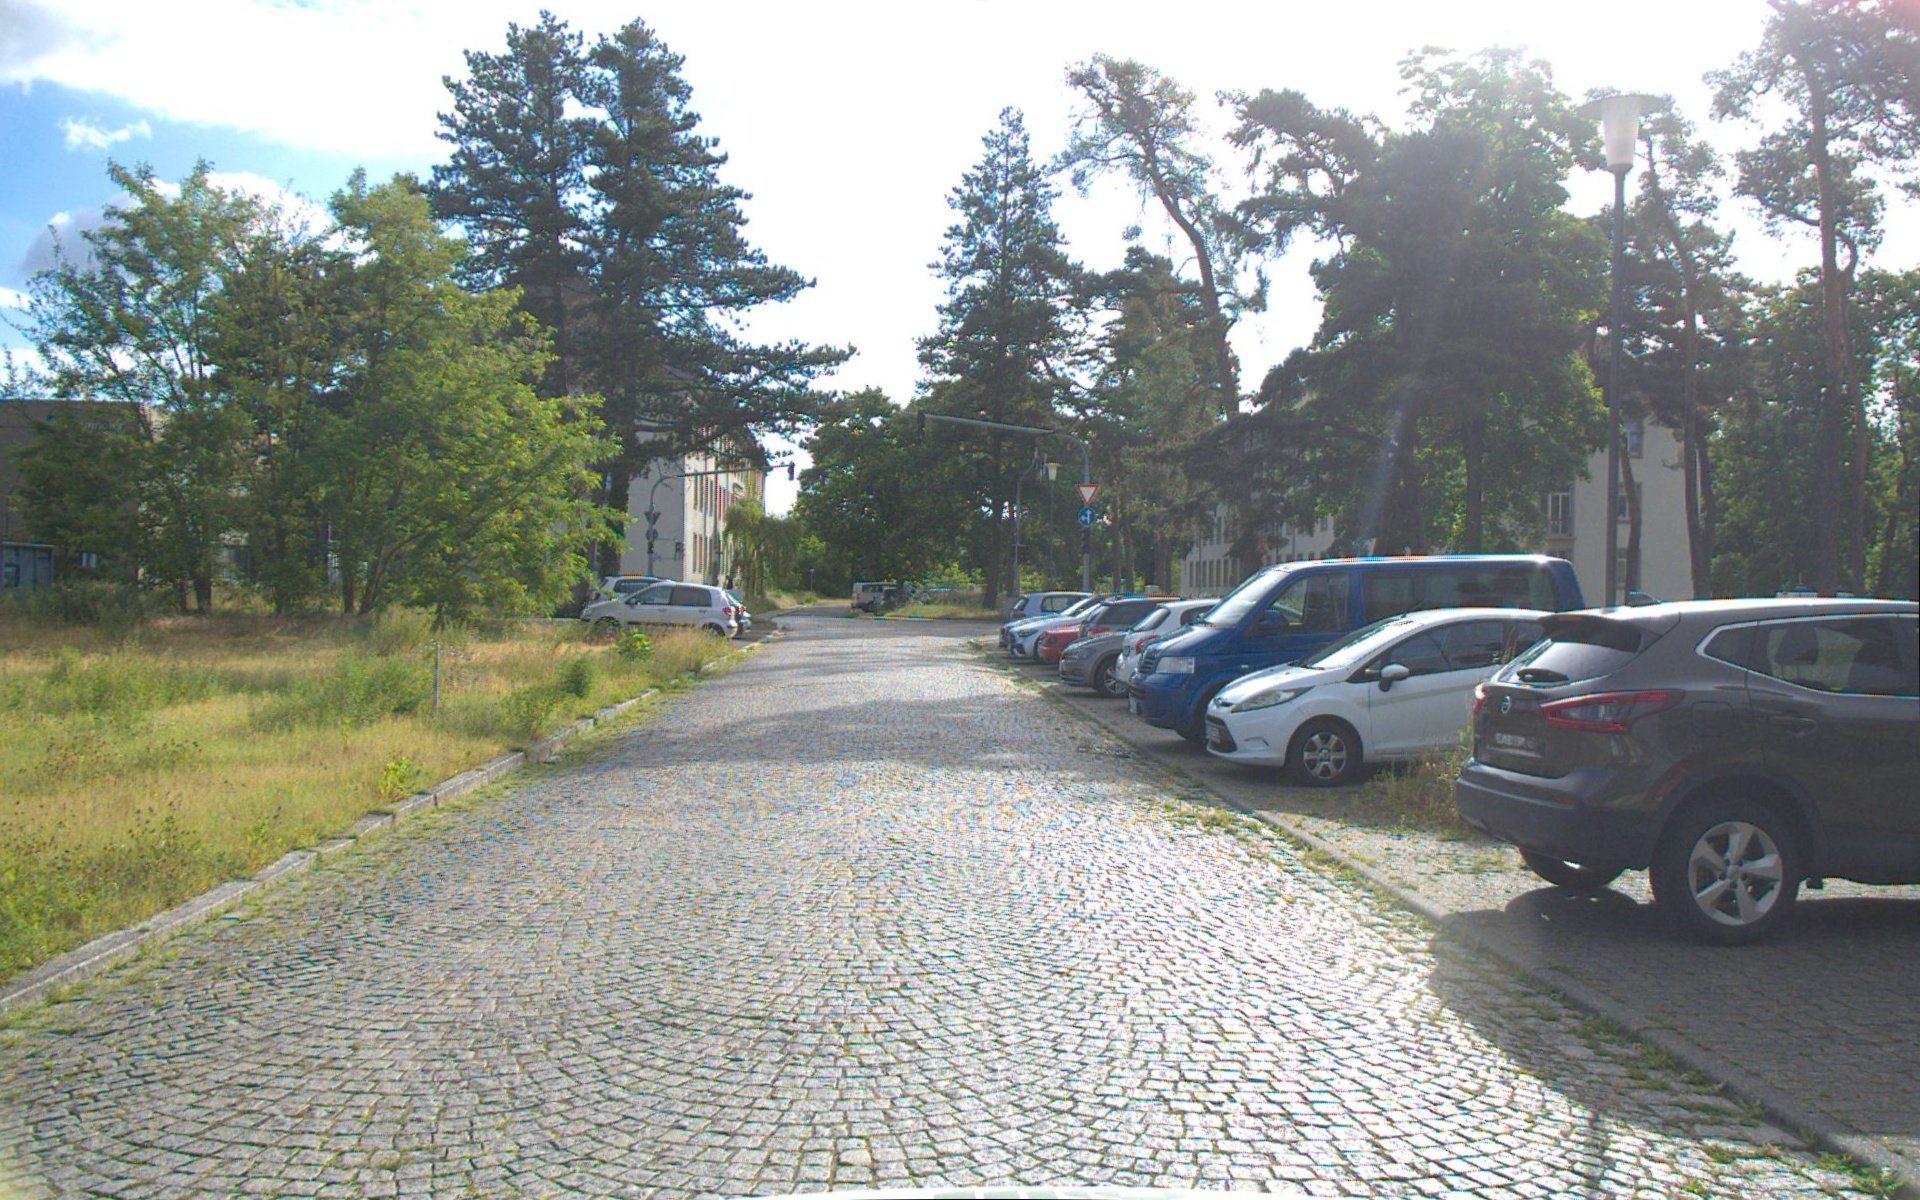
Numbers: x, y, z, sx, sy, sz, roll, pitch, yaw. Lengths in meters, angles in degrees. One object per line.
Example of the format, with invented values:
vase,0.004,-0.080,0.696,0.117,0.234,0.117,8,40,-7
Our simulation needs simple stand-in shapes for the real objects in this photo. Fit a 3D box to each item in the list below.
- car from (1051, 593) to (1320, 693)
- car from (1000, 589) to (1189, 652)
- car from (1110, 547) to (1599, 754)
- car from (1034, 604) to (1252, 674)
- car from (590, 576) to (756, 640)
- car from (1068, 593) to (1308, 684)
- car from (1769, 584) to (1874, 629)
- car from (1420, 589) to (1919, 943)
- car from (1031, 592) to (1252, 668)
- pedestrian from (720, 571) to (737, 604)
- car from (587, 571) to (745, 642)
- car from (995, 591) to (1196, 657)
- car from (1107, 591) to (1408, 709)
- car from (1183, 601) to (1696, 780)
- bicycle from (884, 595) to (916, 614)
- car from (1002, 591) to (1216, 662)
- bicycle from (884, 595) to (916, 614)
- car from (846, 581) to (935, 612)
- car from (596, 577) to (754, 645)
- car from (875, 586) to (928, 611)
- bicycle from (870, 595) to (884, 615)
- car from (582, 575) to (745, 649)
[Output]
car,3.436,0.645,25.682,3.872,1.493,1.829,0,0,-3
car,3.317,0.503,41.311,4.455,1.531,1.931,0,0,-6
car,4.053,0.497,17.500,4.640,1.962,1.990,-1,0,-4
car,3.402,0.728,31.249,3.872,1.283,1.725,0,0,-3
car,-8.189,0.209,47.572,4.499,1.480,1.901,4,1,-6
car,3.891,0.646,28.639,3.872,1.521,1.771,0,0,-3
car,50.775,0.378,97.561,5.055,2.580,2.263,1,0,-2
car,4.737,0.766,8.664,4.108,1.616,1.876,0,0,-5
car,3.647,0.599,33.647,4.255,1.499,1.738,0,0,-4
pedestrian,-14.501,-0.782,103.672,0.966,1.998,0.932,1,-1,-4
car,-7.950,0.177,45.041,4.045,1.627,1.855,4,-1,-8
car,3.127,0.557,38.669,4.421,1.499,1.892,0,0,-8
car,4.038,0.669,22.860,3.797,1.557,1.806,0,0,-3
car,4.252,0.767,14.997,4.111,1.495,1.805,0,0,-7
bicycle,-3.386,0.260,93.053,1.758,1.016,0.643,0,1,-5
car,3.183,0.571,35.890,4.417,1.499,1.848,0,0,-4
bicycle,-3.323,0.256,92.035,1.758,1.016,0.643,0,1,-5
car,-4.565,-0.222,107.913,5.414,1.949,2.243,1,0,-18
car,-7.255,0.284,42.389,3.754,1.454,1.857,4,-1,-5
car,-3.700,-0.091,104.398,2.983,1.491,1.712,1,-1,-16
bicycle,-4.452,0.259,88.365,0.713,1.016,1.798,0,1,-3
car,-7.061,0.278,39.742,3.612,1.499,1.847,4,-1,-5
